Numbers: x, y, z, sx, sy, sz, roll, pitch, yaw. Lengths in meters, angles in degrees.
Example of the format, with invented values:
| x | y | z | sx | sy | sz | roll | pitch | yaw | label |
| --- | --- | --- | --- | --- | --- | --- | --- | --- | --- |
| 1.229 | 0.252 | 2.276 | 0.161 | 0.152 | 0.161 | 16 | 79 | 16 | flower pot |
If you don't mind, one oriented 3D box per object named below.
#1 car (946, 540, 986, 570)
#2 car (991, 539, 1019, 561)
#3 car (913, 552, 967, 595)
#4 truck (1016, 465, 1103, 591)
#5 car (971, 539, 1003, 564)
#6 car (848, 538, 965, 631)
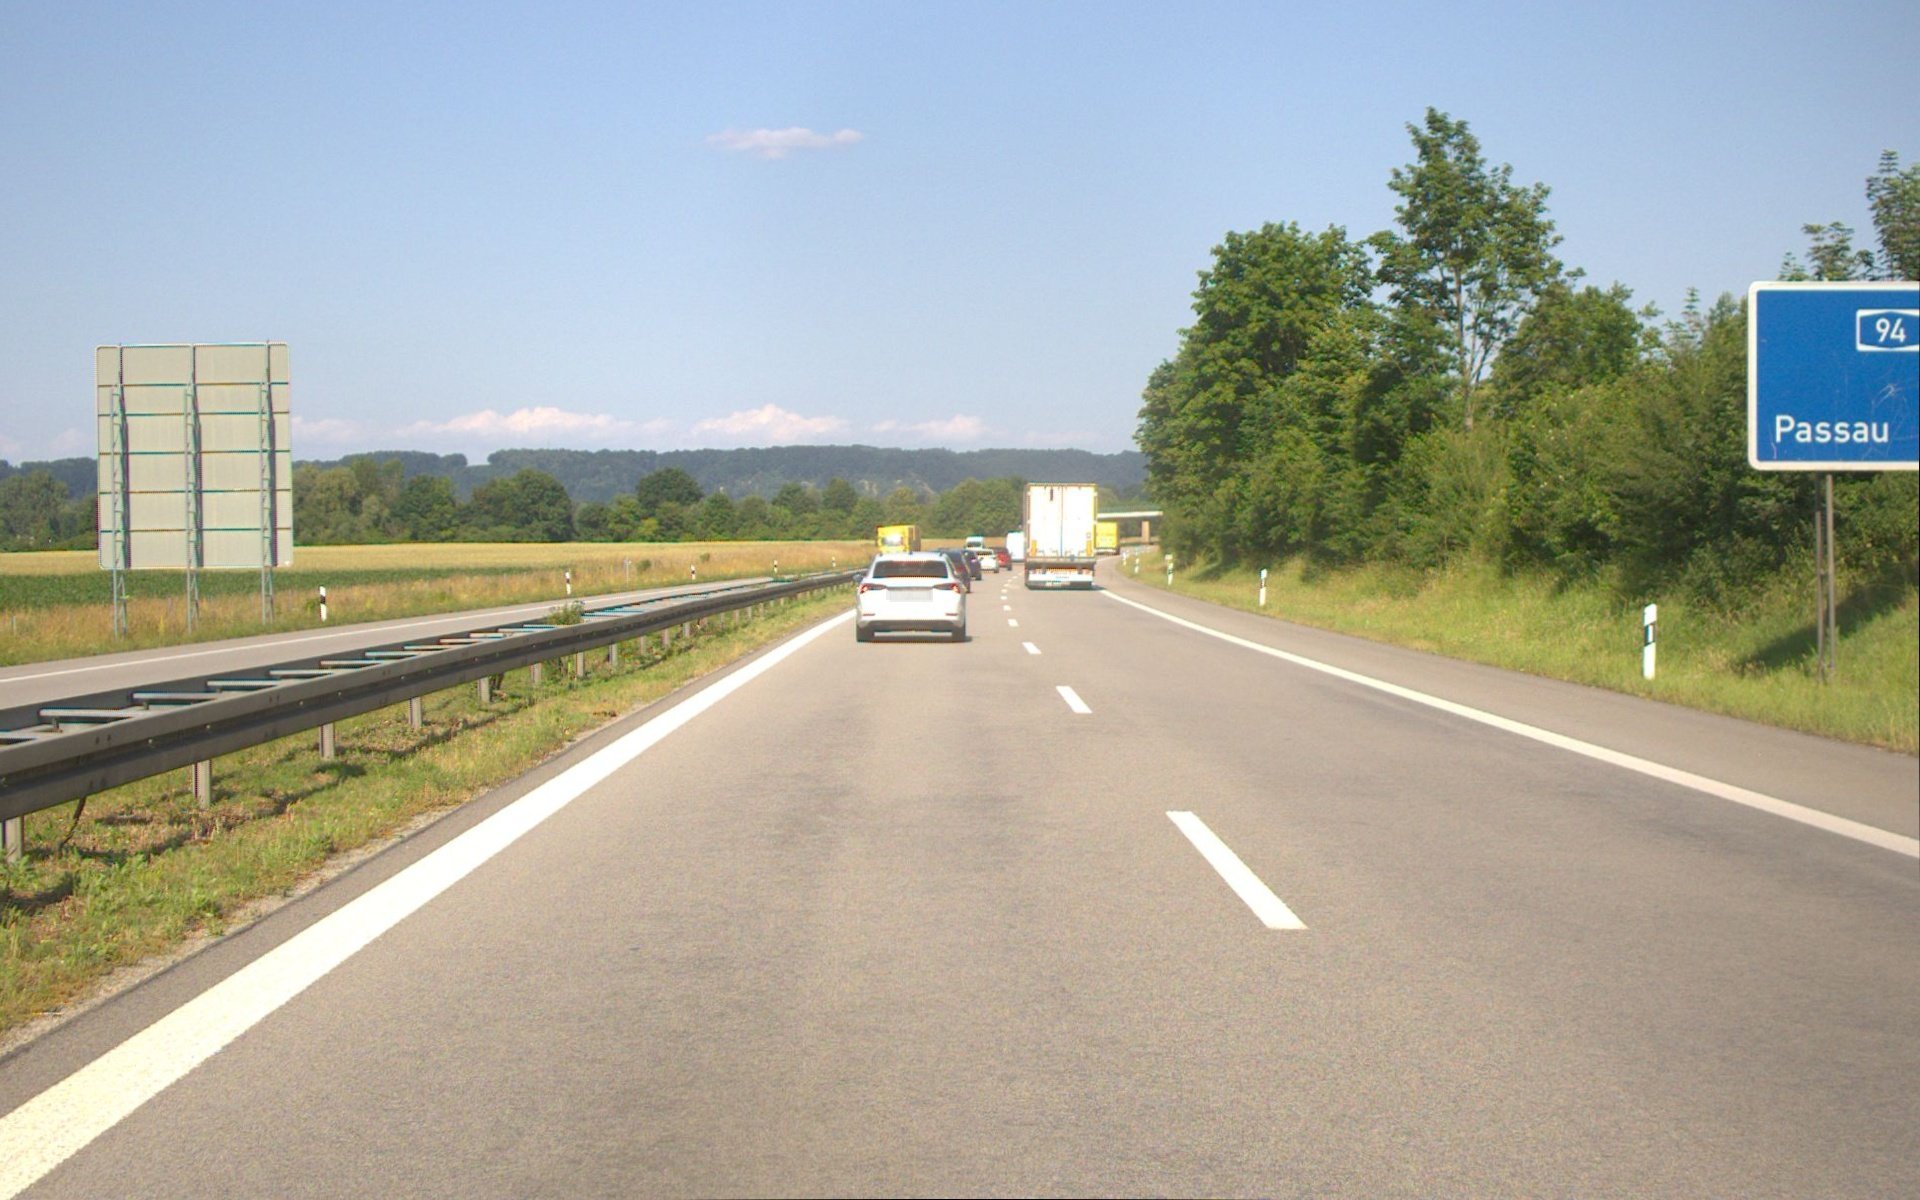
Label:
| x | y | z | sx | sy | sz | roll | pitch | yaw | label |
| --- | --- | --- | --- | --- | --- | --- | --- | --- | --- |
| 0.280 | -2.128 | 161.605 | 1.771 | 1.416 | 4.365 | 0 | 1 | 1 | car |
| 2.940 | -3.250 | 222.686 | 1.771 | 1.416 | 4.365 | 0 | 1 | 1 | car |
| -0.655 | -0.922 | 117.191 | 1.771 | 1.416 | 4.495 | 0 | 1 | 0 | car |
| 3.784 | -2.742 | 131.071 | 3.152 | 4.596 | 8.905 | -1 | 1 | 2 | truck |
| 1.596 | -2.856 | 202.675 | 1.771 | 1.416 | 4.365 | 0 | 1 | 1 | car |
| -0.869 | -0.289 | 56.937 | 1.840 | 1.416 | 5.255 | 1 | 1 | 0 | car |
